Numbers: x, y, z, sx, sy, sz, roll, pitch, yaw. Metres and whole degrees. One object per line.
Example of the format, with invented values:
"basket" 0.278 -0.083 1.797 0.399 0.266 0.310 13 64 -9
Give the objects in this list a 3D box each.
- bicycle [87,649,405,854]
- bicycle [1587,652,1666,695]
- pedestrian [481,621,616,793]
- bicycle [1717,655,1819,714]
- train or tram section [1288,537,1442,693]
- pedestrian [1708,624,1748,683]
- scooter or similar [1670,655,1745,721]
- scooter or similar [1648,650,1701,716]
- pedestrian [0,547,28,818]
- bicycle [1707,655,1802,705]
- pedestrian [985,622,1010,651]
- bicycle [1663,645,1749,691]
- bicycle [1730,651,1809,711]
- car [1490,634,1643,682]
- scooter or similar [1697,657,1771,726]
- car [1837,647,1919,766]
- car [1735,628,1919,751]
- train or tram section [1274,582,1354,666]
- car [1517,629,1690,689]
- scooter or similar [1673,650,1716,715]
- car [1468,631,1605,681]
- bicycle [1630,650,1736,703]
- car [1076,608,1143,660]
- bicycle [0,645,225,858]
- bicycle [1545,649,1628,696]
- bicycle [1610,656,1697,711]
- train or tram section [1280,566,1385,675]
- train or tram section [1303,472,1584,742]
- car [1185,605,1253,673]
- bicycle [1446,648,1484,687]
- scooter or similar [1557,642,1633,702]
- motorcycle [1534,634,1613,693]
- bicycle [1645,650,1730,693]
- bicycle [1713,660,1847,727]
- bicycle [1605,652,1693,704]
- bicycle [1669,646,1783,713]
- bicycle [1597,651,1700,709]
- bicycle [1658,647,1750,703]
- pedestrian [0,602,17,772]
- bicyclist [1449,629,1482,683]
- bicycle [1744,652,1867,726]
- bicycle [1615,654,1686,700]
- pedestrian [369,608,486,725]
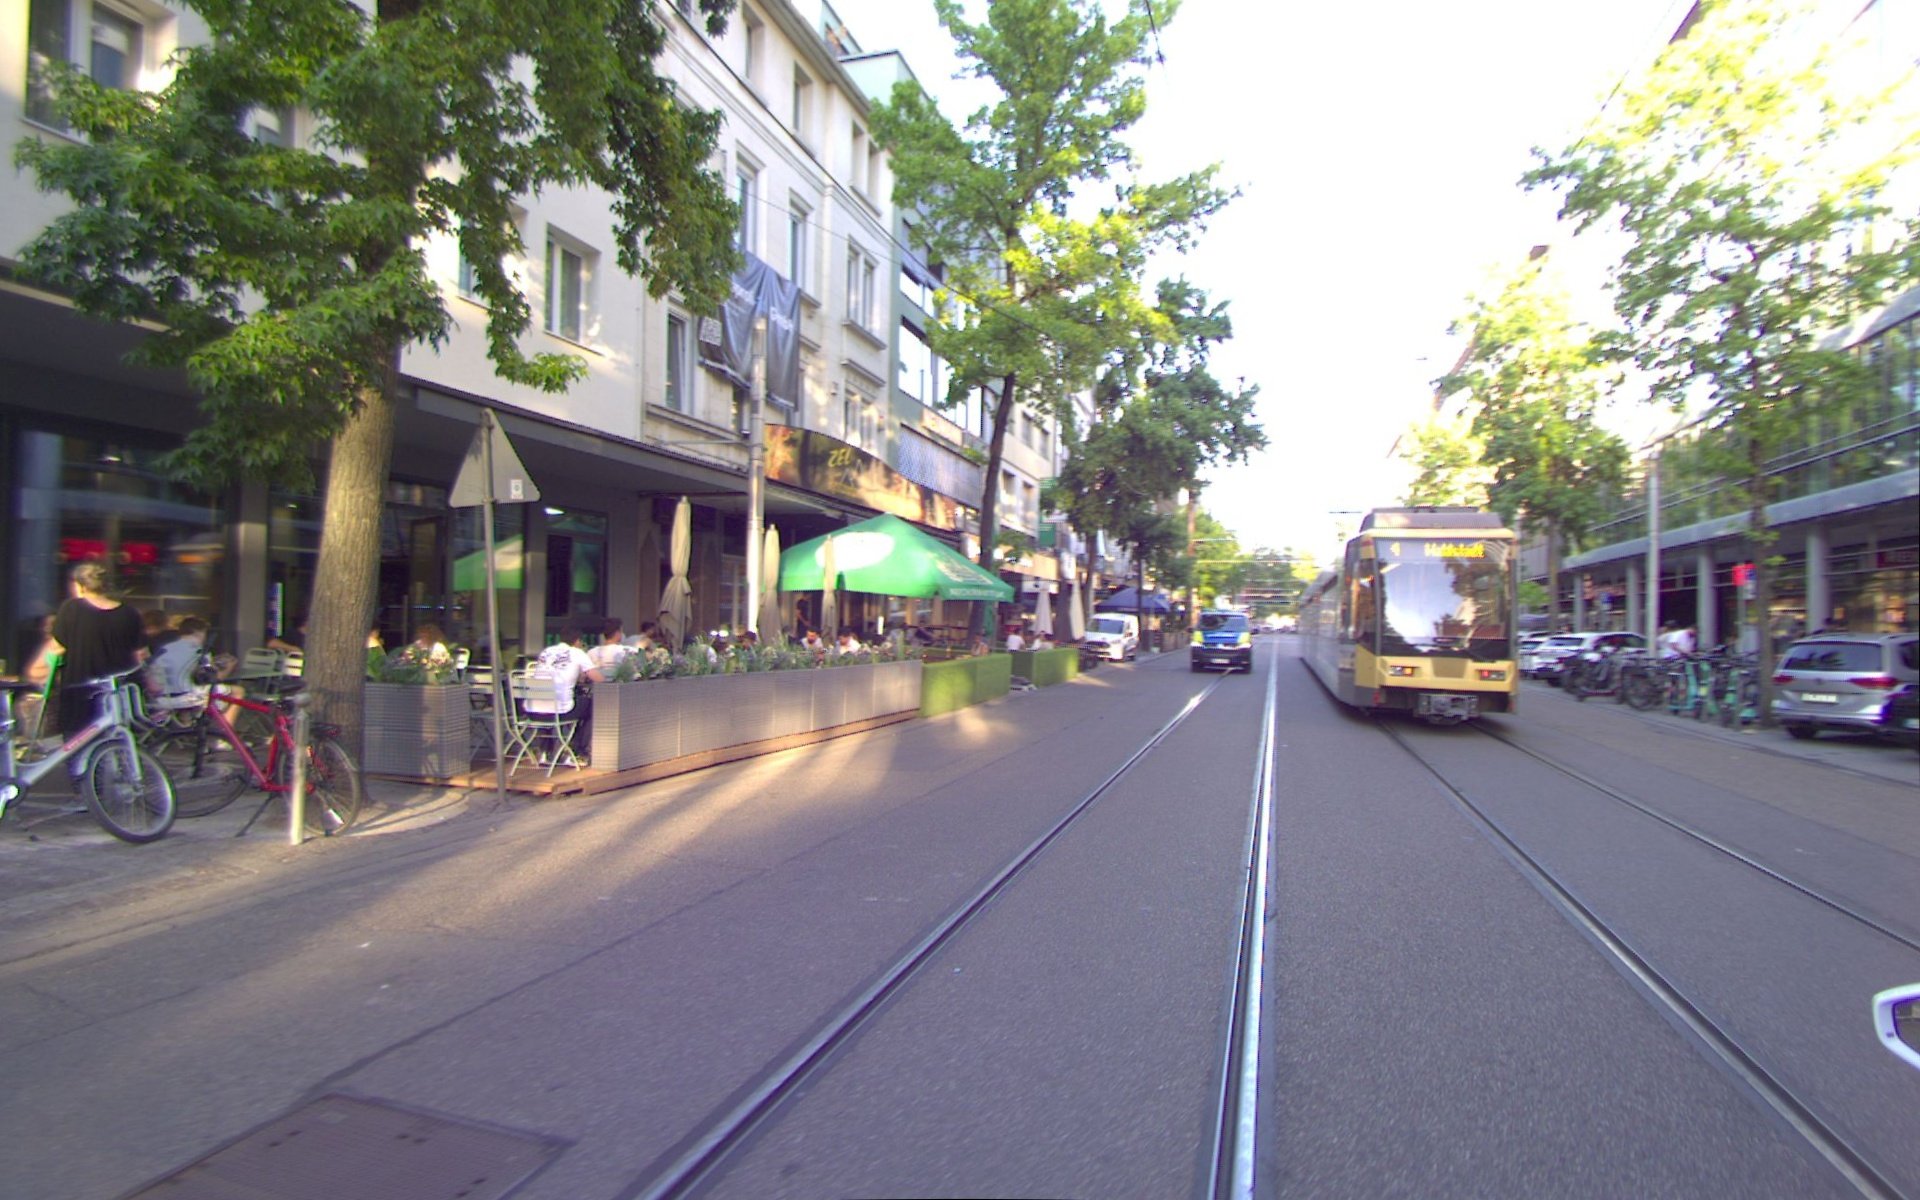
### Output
"bicycle" -4.677 0.938 6.596 1.829 1.154 0.627 2 -1 15
"bicycle" 18.260 1.996 27.521 1.721 1.132 0.915 1 -1 -17
"pedestrian" -3.574 0.898 8.765 0.681 1.395 0.793 2 -1 19
"bicycle" 16.778 1.750 20.881 1.662 1.165 0.502 -1 -1 2
"train or tram section" 11.129 0.479 28.615 2.957 3.570 10.407 2 -1 16
"pedestrian" 23.270 1.620 30.449 0.668 1.722 0.806 2 1 17
"scooter or similar" 14.049 1.639 18.883 1.312 1.197 0.496 1 -1 -20
"scooter or similar" 14.038 1.615 19.766 0.474 1.238 1.214 -1 -2 18
"pedestrian" -6.587 0.523 6.318 0.768 1.764 0.640 3 -1 -13
"bicycle" 18.538 1.848 23.456 1.802 1.109 0.822 1 -1 -14
"pedestrian" 1.523 1.484 40.862 0.764 1.109 0.729 4 -1 17
"bicycle" 19.298 1.744 25.995 1.760 1.132 0.842 0 -1 -12
"bicycle" 17.553 1.742 21.779 1.670 1.205 0.552 -1 -1 -21
"car" 20.341 1.918 33.780 4.106 1.477 1.863 -1 -2 -6
"scooter or similar" 13.918 1.624 18.054 1.384 1.165 0.575 1 -1 -29
"car" 14.039 1.309 12.726 4.267 1.441 1.954 -1 -2 -5
"car" 14.702 1.292 15.621 4.602 1.661 1.948 0 -2 -18
"train or tram section" 17.063 1.185 49.076 2.993 3.570 10.536 2 -1 16
"car" 18.793 1.680 29.369 4.272 1.583 1.872 -1 -2 -16
"scooter or similar" 14.540 1.613 19.907 0.560 1.221 1.278 -1 -1 31
"car" 20.882 1.985 36.417 4.137 1.659 1.916 -1 -1 -15
"bicycle" 16.870 1.779 23.452 1.961 1.164 0.698 -1 -1 -1
"car" 5.973 1.361 39.670 1.764 1.842 4.517 3 -1 19
"bicycle" -5.641 0.869 5.977 1.833 1.154 0.779 3 -2 -11
"bicycle" 15.802 1.824 25.347 1.720 1.132 0.804 0 -1 -15
"bicycle" 14.747 1.758 21.360 1.718 1.090 0.493 0 -1 -13
"train or tram section" 14.097 0.827 38.818 2.953 3.570 10.850 1 -1 16
"train or tram section" 8.227 0.232 18.635 2.966 3.570 10.376 1 -2 16
"car" 8.566 1.249 33.019 1.960 2.003 4.852 1 -1 16
"bicycle" 15.112 2.003 30.110 0.645 1.074 2.058 3 -1 17
"scooter or similar" 14.932 1.676 23.645 0.686 1.321 1.386 0 -1 -21
"motorcycle" 16.448 1.681 26.924 2.177 1.491 0.790 0 0 -27
"bicycle" 19.947 1.942 27.561 1.717 1.132 0.935 0 -1 -7
"bicycle" 15.051 1.686 18.495 0.621 1.090 1.872 -1 -1 -18
"bicycle" 15.900 1.790 23.185 1.802 1.090 0.622 -1 0 -15
"bicycle" 15.614 1.602 20.490 1.797 1.291 0.681 -1 -1 -1
"bicycle" 14.894 1.712 21.740 1.959 1.145 0.679 -1 -1 -13
"bicycle" 16.067 1.620 21.717 1.654 1.154 0.478 -1 -1 -3
"pedestrian" -8.072 0.656 7.701 0.870 1.337 0.882 2 -2 21
"bicyclist" 15.118 1.670 30.069 0.714 1.546 0.734 3 -1 17
"bicycle" 15.786 1.631 18.783 0.635 1.266 1.645 0 -1 -36
"bicycle" 17.633 1.948 25.658 1.569 1.047 0.552 -3 -1 -13
"pedestrian" -6.471 0.792 12.236 0.834 1.337 0.881 2 -2 21
